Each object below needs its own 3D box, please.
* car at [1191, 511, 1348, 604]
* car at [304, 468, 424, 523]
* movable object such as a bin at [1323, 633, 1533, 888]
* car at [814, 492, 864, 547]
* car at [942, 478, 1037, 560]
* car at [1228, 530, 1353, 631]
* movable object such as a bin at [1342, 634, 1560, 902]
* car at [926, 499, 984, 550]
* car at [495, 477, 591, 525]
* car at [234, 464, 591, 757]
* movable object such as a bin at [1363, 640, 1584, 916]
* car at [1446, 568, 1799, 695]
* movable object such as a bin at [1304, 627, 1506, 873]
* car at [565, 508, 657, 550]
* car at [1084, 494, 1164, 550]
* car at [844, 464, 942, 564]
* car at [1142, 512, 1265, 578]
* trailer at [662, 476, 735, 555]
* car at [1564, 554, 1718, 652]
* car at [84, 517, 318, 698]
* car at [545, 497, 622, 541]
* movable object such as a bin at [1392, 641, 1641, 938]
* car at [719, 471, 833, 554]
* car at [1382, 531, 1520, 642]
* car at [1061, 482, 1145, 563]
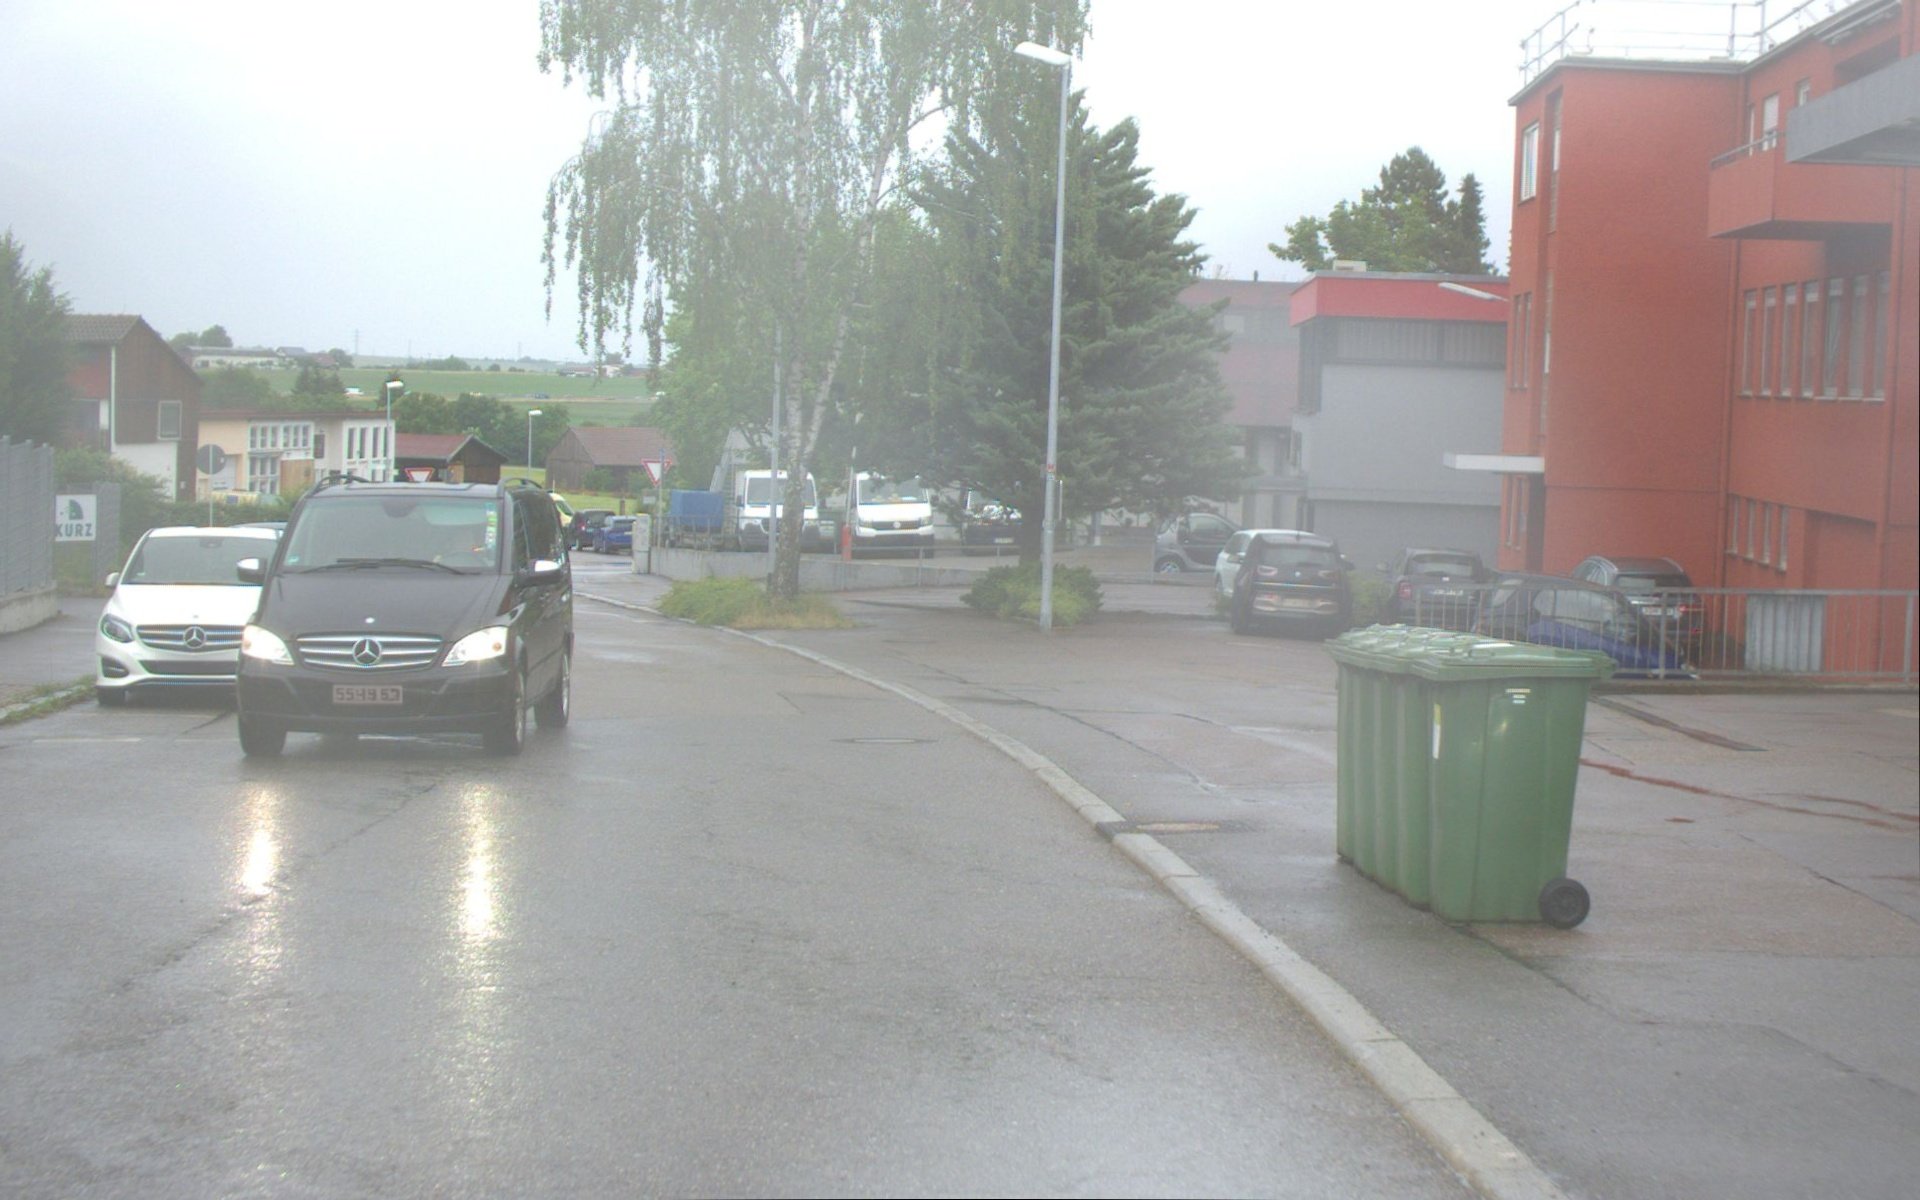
[{"bbox_3d":[5.461,-0.732,61.151,2.065,1.547,4.001,1,0,-5],"label":"car"},{"bbox_3d":[-22.091,-3.877,127.510,3.987,1.875,2.000,2,1,3],"label":"car"},{"bbox_3d":[2.054,0.698,15.149,0.809,1.073,0.581,1,1,-2],"label":"movable object such as a bin"},{"bbox_3d":[-3.344,-2.210,94.725,1.290,1.419,2.546,1,0,-4],"label":"car"},{"bbox_3d":[0.751,-2.082,89.854,2.145,2.007,3.940,1,0,-4],"label":"car"},{"bbox_3d":[5.123,-0.294,53.684,1.697,1.470,4.000,1,0,3],"label":"car"},{"bbox_3d":[2.076,0.703,14.588,0.809,1.087,0.541,1,1,-2],"label":"movable object such as a bin"},{"bbox_3d":[-0.150,-2.096,95.553,1.398,1.321,2.701,1,0,-4],"label":"car"},{"bbox_3d":[-20.505,-4.872,169.116,4.242,2.218,1.999,2,0,9],"label":"car"},{"bbox_3d":[-3.844,0.020,24.950,1.885,1.880,5.072,1,1,-2],"label":"car"},{"bbox_3d":[2.083,0.715,14.012,0.775,1.072,0.583,1,1,-2],"label":"movable object such as a bin"},{"bbox_3d":[6.834,0.304,35.734,3.401,1.159,1.791,2,1,5],"label":"car"},{"bbox_3d":[2.030,0.678,15.754,0.802,1.075,0.625,1,1,-2],"label":"movable object such as a bin"},{"bbox_3d":[-13.690,-2.756,134.743,2.460,1.534,4.001,1,0,-24],"label":"car"},{"bbox_3d":[4.552,-2.159,95.903,1.636,1.448,3.512,1,0,-7],"label":"car"},{"bbox_3d":[-1.755,-2.197,89.034,2.192,2.451,4.001,1,0,-5],"label":"car"},{"bbox_3d":[5.368,-1.214,75.807,2.547,1.347,1.242,2,1,-2],"label":"car"},{"bbox_3d":[-7.077,-2.279,92.901,1.852,2.007,4.001,2,1,-5],"label":"trailer"},{"bbox_3d":[10.494,0.040,53.218,1.729,1.417,4.000,1,0,3],"label":"car"},{"bbox_3d":[-6.808,0.056,31.170,1.769,1.507,4.146,1,0,-9],"label":"car"},{"bbox_3d":[-15.391,-3.292,140.401,1.993,1.698,4.001,1,0,-24],"label":"car"},{"bbox_3d":[2.150,0.722,13.360,0.806,1.089,0.709,1,1,-2],"label":"movable object such as a bin"},{"bbox_3d":[-4.781,-2.226,88.763,2.264,2.007,4.001,1,0,-12],"label":"car"},{"bbox_3d":[7.714,-0.211,54.275,1.739,1.648,4.000,1,0,3],"label":"car"},{"bbox_3d":[3.716,-2.005,90.093,1.781,2.007,3.633,1,0,-4],"label":"car"}]
